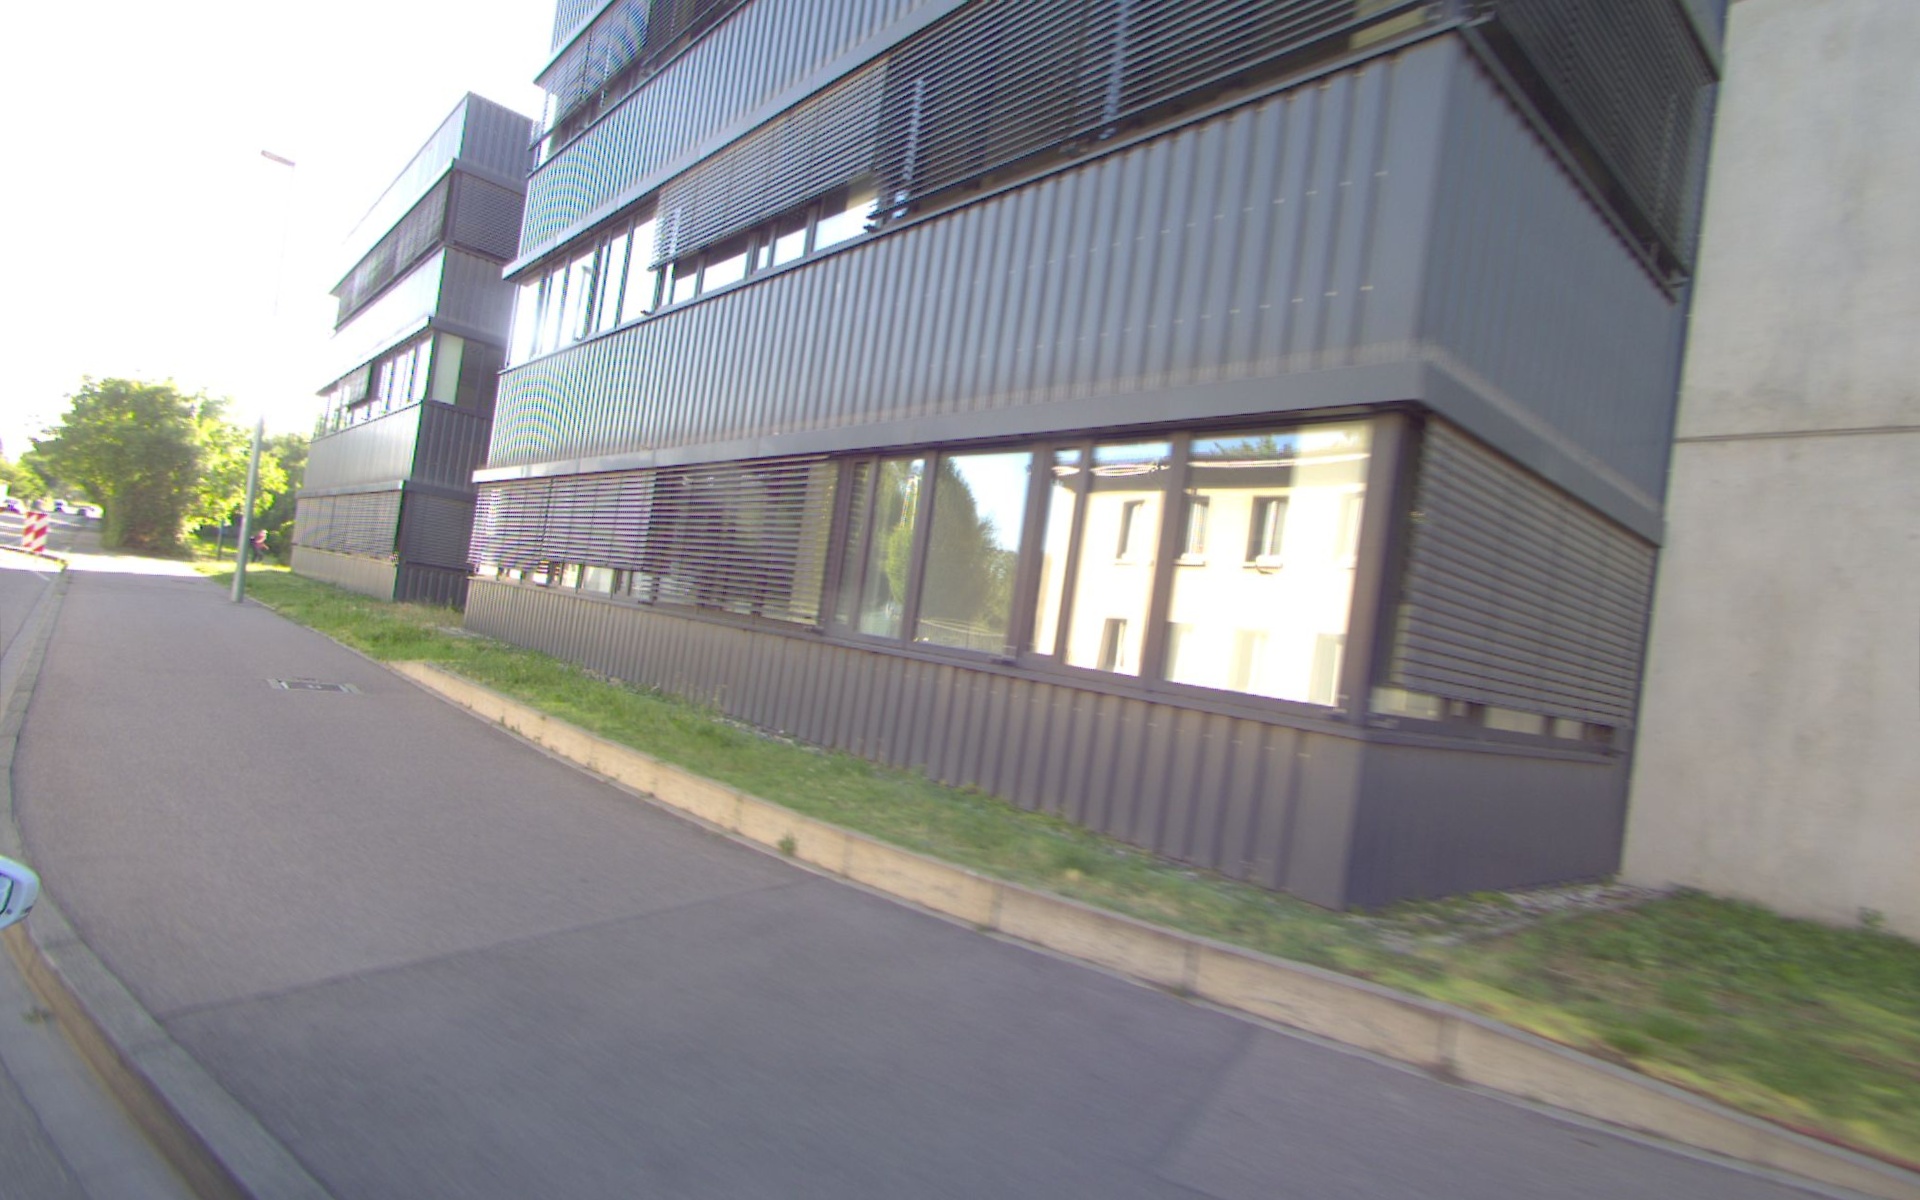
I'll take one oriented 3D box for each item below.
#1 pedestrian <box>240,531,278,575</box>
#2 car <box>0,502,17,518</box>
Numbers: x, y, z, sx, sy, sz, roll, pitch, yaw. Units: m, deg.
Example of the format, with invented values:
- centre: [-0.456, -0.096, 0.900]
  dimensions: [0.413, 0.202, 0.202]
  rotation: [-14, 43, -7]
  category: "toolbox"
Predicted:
- centre: [-31.727, -2.128, 45.520]
  dimensions: [0.885, 1.815, 1.149]
  rotation: [7, 1, 45]
  category: "pedestrian"
- centre: [-96.376, -9.106, 101.414]
  dimensions: [1.810, 1.508, 3.952]
  rotation: [5, 0, -43]
  category: "car"
